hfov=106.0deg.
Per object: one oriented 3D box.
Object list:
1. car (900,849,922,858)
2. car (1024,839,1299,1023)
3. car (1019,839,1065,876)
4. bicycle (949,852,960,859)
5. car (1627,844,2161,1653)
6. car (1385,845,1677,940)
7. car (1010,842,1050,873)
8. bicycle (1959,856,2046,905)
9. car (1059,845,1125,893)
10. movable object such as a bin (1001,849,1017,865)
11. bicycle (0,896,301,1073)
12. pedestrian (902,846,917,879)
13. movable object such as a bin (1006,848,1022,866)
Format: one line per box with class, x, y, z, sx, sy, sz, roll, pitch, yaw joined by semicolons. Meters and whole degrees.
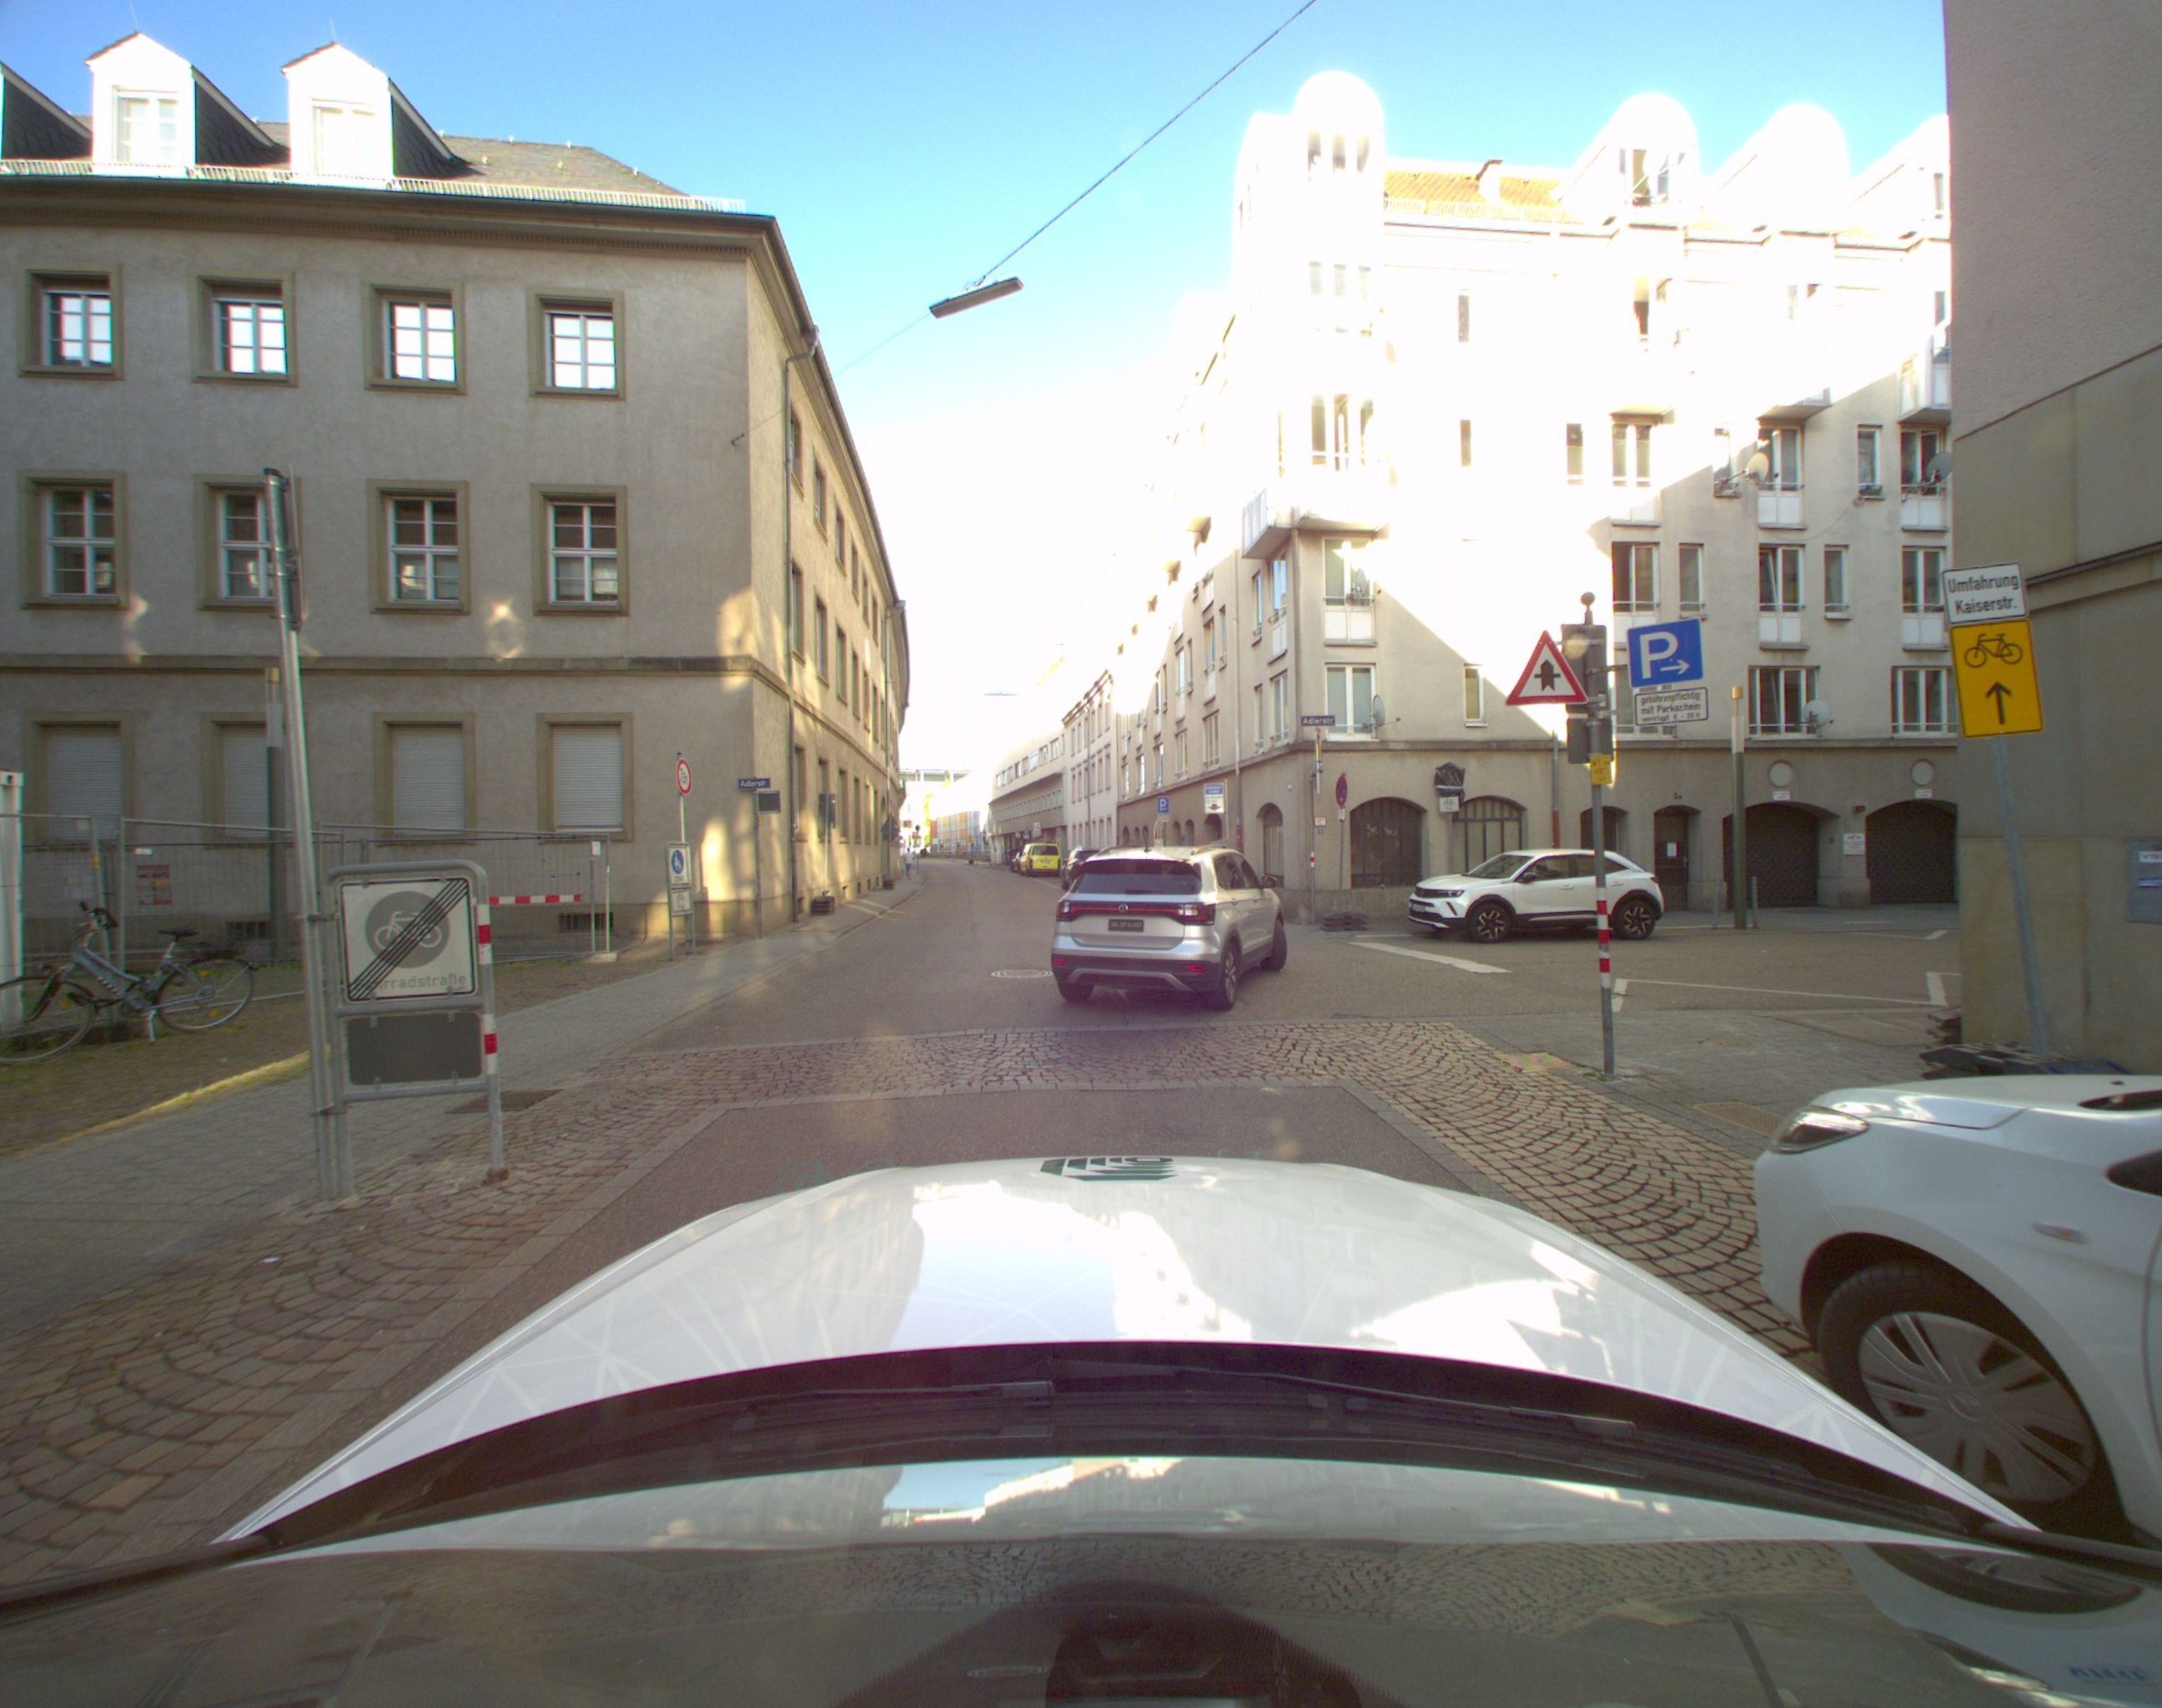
car;-36.004;-0.106;172.299;4.091;1.669;1.703;-1;1;-33
car;1.152;0.643;9.184;1.820;1.562;4.023;-1;1;25
car;-2.337;0.167;47.326;2.054;2.013;4.158;-1;1;-12
bicycle;-21.143;0.246;135.894;1.782;1.000;0.544;-1;0;-13
car;3.017;0.742;0.936;1.885;1.518;4.057;0;0;-4
car;7.866;0.626;14.513;4.204;1.553;1.901;0;0;-2
car;-3.368;0.213;53.106;2.054;1.873;4.084;-1;1;-12
bicycle;20.117;0.566;17.782;1.456;1.020;0.468;-1;0;-4
car;0.353;0.530;30.874;1.966;1.692;4.091;0;0;-7
movable object such as a bin;-6.446;0.261;73.236;1.134;1.479;1.730;-1;0;-15
bicycle;-8.085;1.022;7.034;0.802;1.201;1.781;0;0;15
pedestrian;-9.122;0.456;43.302;0.767;1.724;0.684;-1;0;-13
movable object such as a bin;-5.878;0.241;71.536;1.134;1.558;1.730;-1;0;-15
